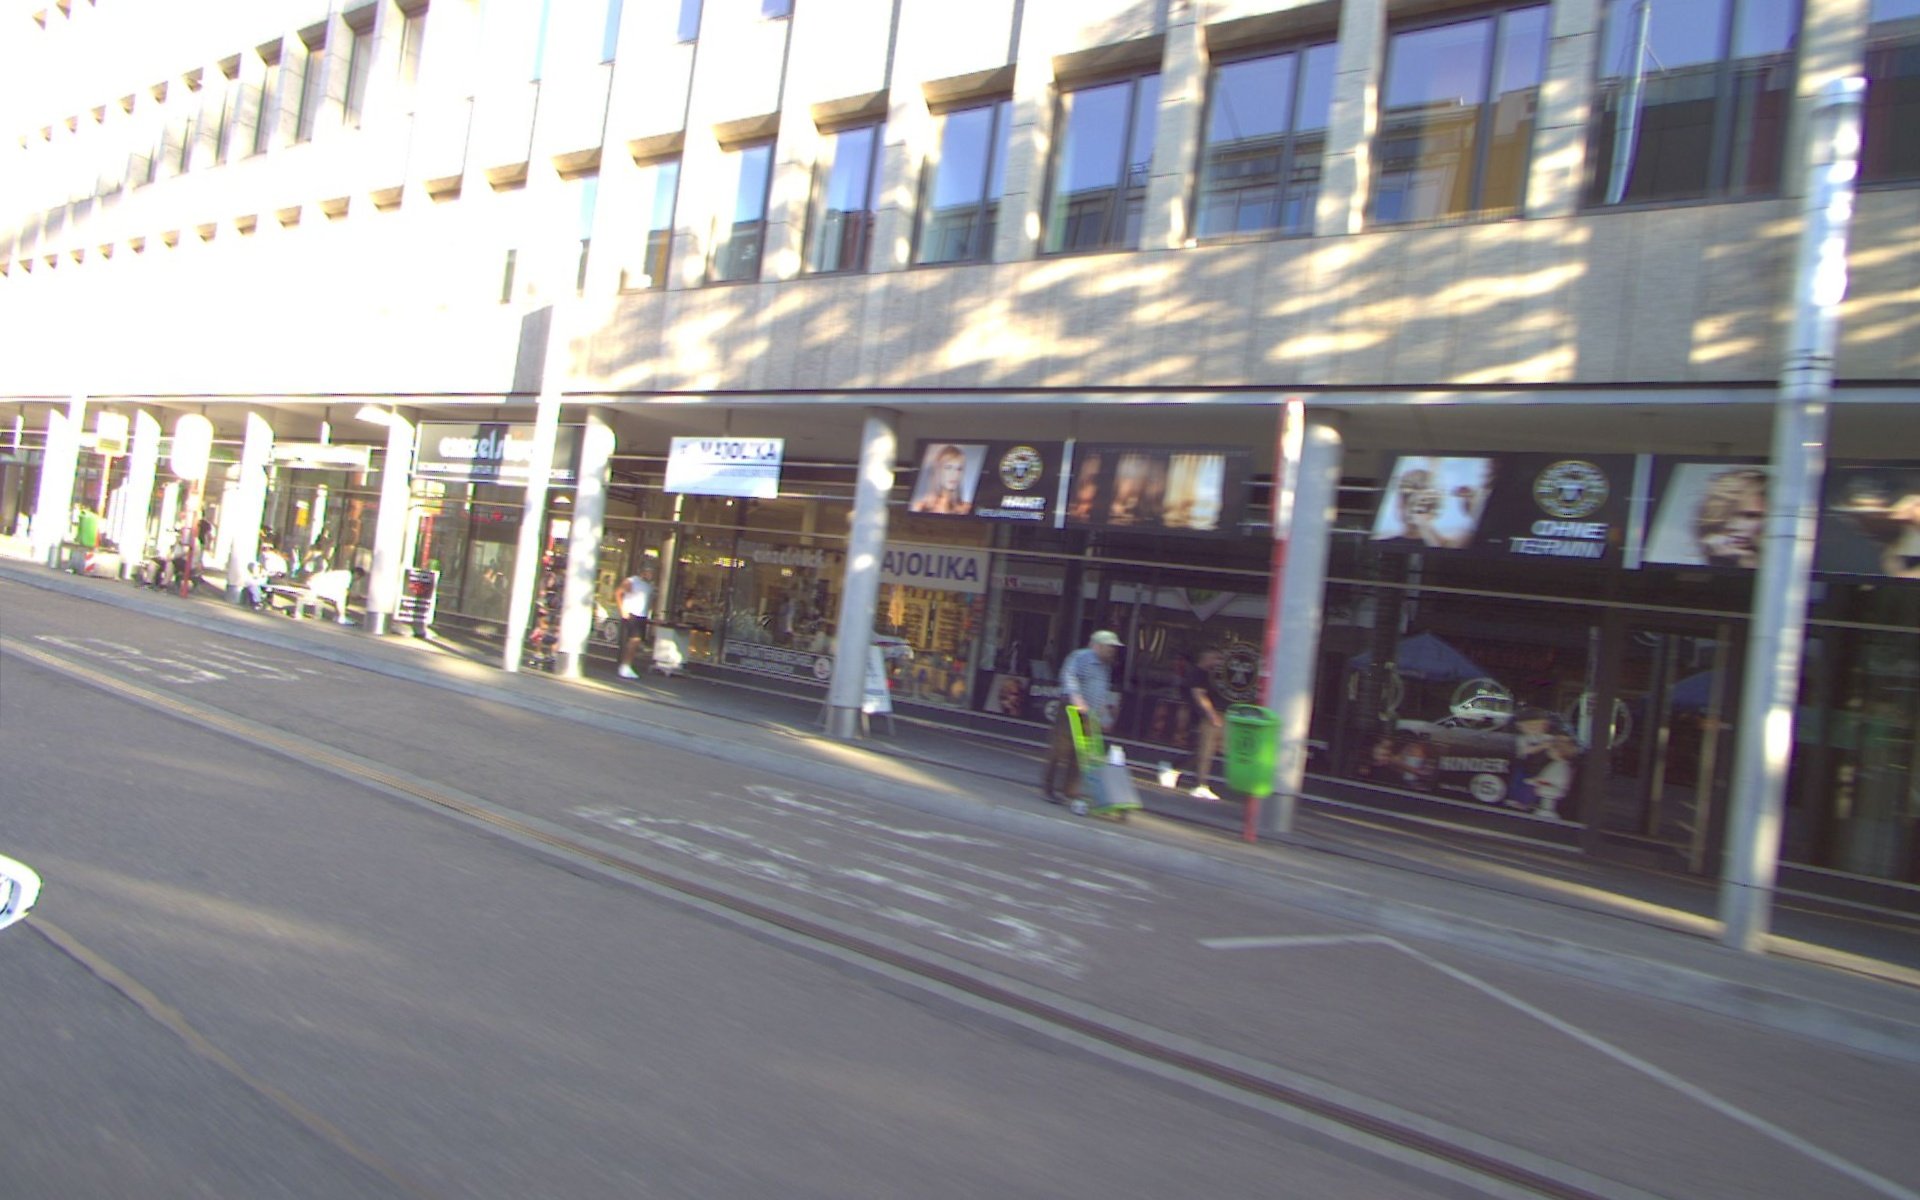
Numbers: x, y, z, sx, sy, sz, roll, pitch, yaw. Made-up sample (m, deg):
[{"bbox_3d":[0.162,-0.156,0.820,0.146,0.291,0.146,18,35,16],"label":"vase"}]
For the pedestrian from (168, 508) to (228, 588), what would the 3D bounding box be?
[{"bbox_3d":[-18.396,-1.251,24.290,0.821,1.761,0.717,7,-1,31],"label":"pedestrian"}]

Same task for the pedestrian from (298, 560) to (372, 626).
[{"bbox_3d":[-11.314,-0.123,18.210,0.685,1.042,0.837,7,-2,36],"label":"pedestrian"}]

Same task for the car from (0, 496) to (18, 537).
[{"bbox_3d":[-38.123,-3.445,37.607,1.620,1.490,3.813,7,-2,26],"label":"car"}]

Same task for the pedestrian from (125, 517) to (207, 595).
[{"bbox_3d":[-15.792,-0.860,20.036,0.763,1.393,0.837,8,-1,9],"label":"pedestrian"}]

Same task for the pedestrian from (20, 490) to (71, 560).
[{"bbox_3d":[-23.363,-1.915,25.698,0.768,1.672,0.638,7,-1,32],"label":"pedestrian"}]

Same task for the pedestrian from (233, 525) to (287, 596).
[{"bbox_3d":[-16.785,-0.950,24.129,0.783,1.560,0.644,7,-1,31],"label":"pedestrian"}]

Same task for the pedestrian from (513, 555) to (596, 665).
[{"bbox_3d":[-6.852,0.172,16.996,0.843,1.720,0.746,7,-1,31],"label":"pedestrian"}]

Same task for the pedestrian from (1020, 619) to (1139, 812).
[{"bbox_3d":[1.080,1.026,9.015,0.621,1.590,0.683,7,-2,31],"label":"pedestrian"}]

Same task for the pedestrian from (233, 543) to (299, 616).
[{"bbox_3d":[-12.823,-0.371,18.591,0.772,1.212,0.667,7,-1,36],"label":"pedestrian"}]

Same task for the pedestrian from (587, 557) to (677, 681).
[{"bbox_3d":[-5.147,0.303,15.794,0.843,1.813,0.746,7,-1,31],"label":"pedestrian"}]

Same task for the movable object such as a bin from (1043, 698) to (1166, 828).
[{"bbox_3d":[1.231,1.364,8.505,0.706,0.934,0.691,7,-3,31],"label":"movable object such as a bin"}]

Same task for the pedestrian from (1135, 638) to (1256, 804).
[{"bbox_3d":[2.541,1.282,10.842,0.910,1.608,0.697,7,-1,32],"label":"pedestrian"}]
